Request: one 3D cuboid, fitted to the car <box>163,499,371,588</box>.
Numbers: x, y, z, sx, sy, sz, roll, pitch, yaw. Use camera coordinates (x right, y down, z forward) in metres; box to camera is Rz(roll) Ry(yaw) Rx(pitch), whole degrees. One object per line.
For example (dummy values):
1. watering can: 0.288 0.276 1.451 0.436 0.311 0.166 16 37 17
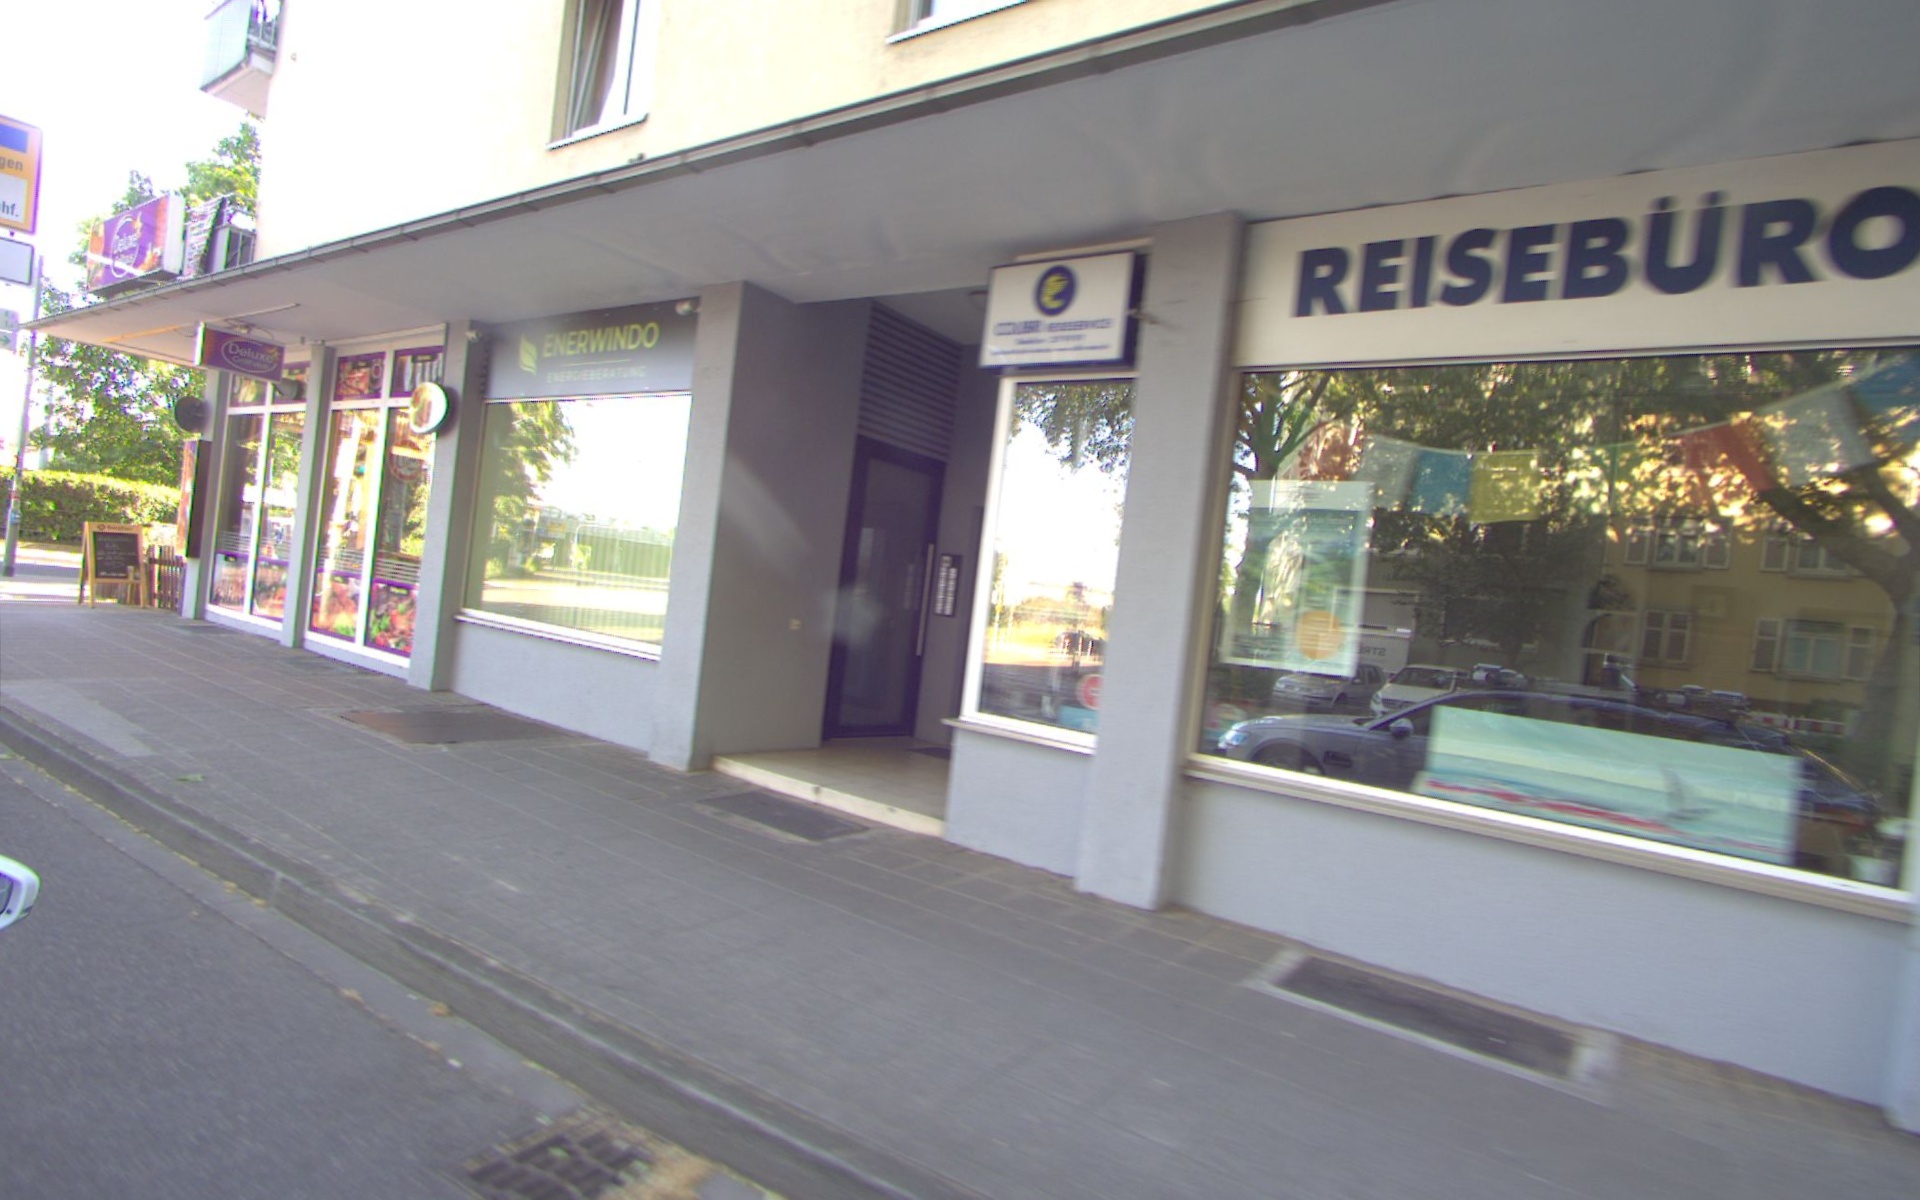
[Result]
1. car: -18.455 -1.440 26.938 1.781 1.835 4.172 3 -3 39
